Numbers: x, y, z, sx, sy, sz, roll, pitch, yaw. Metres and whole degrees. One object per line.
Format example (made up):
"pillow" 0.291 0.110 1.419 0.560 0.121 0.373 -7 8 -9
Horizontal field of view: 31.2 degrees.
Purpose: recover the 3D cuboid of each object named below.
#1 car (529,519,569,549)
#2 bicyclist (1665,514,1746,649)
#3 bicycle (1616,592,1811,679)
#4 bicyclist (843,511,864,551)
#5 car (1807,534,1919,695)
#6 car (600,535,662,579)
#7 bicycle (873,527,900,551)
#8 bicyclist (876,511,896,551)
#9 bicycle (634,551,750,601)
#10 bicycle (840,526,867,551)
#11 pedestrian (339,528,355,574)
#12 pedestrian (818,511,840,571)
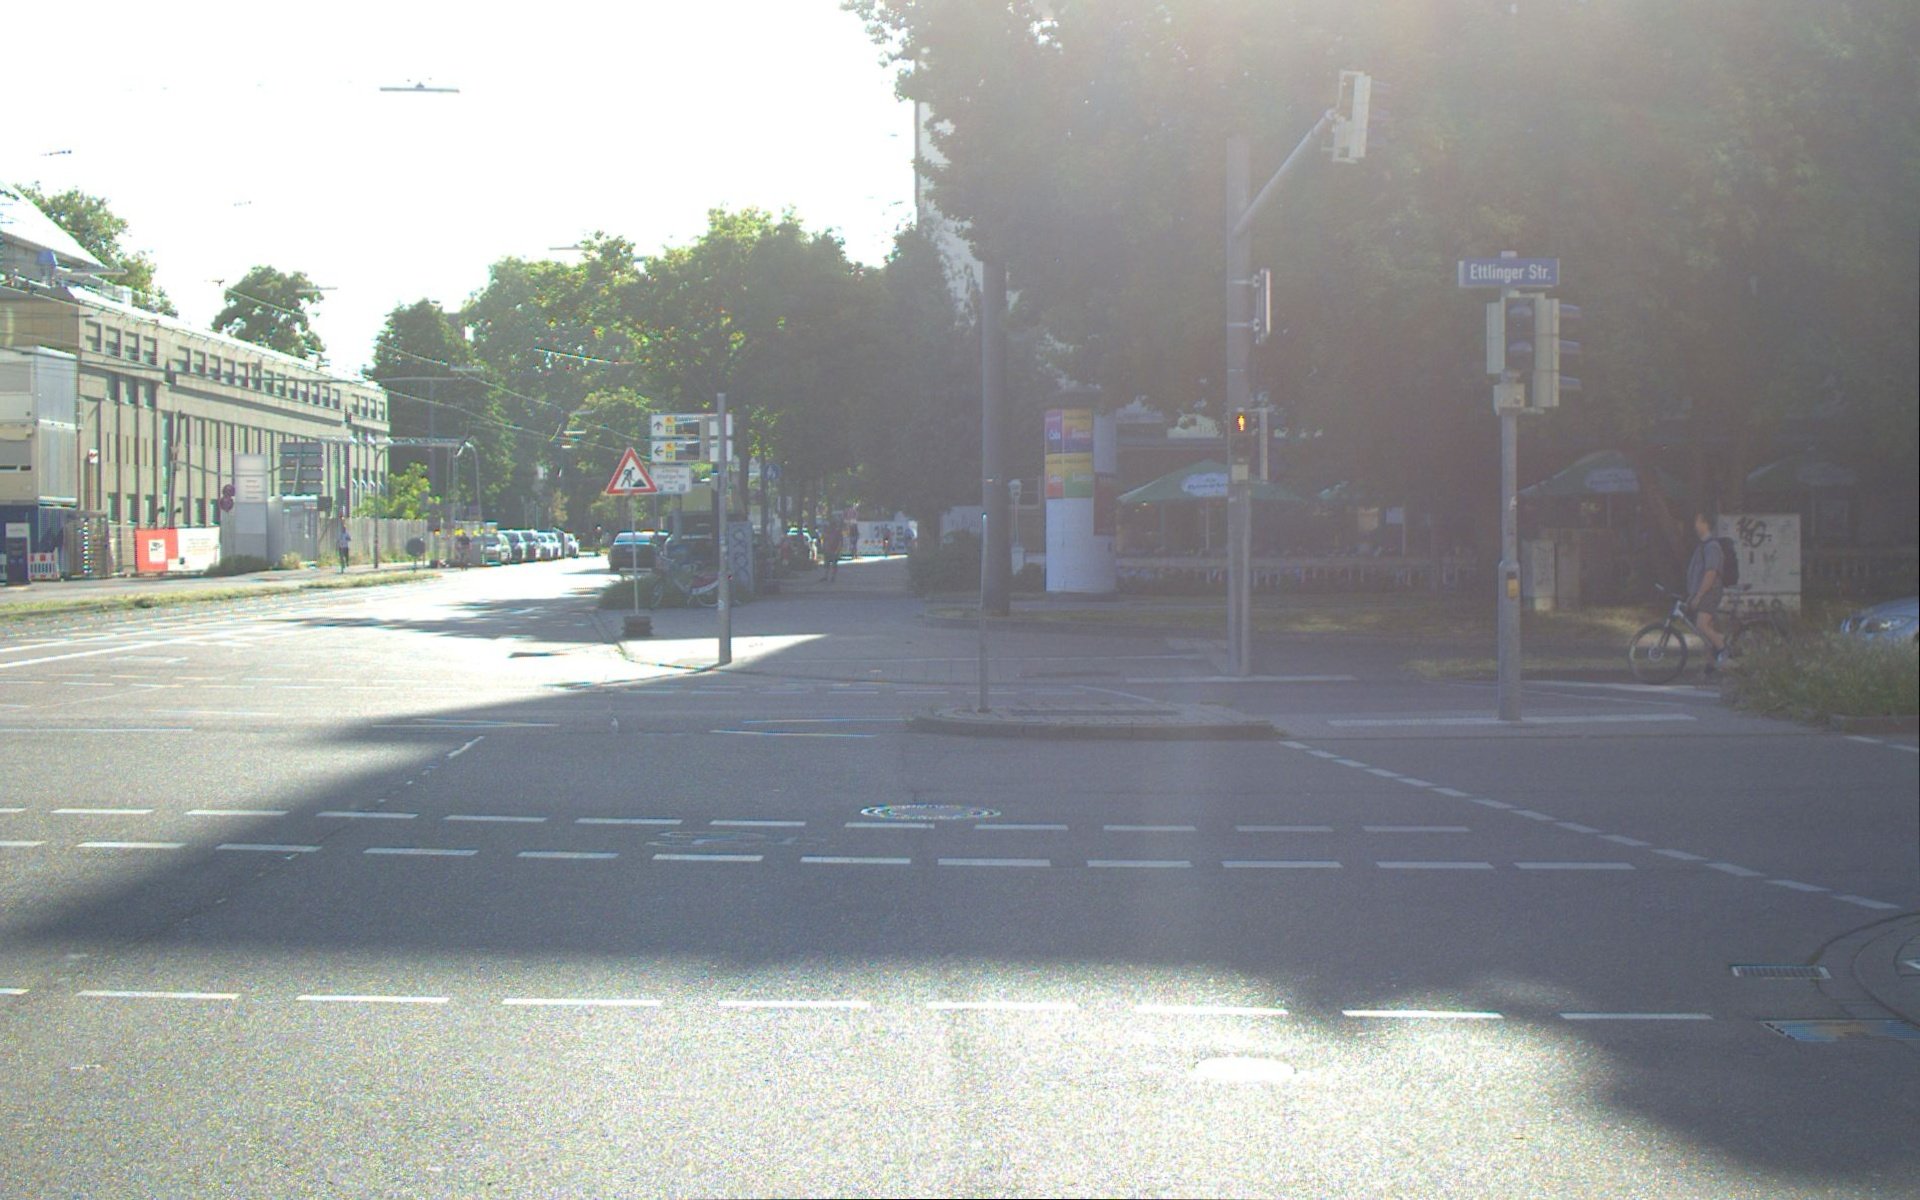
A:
"car" -23.273 -3.733 194.699 1.993 1.638 4.001 0 1 -4
"bicyclist" 7.882 -0.196 36.391 0.747 1.401 0.702 1 0 6
"bicycle" 7.964 0.367 36.392 1.944 0.886 0.718 1 0 6
"bicyclist" -5.373 -3.485 172.973 0.890 2.007 0.749 1 0 -12
"car" 10.828 0.156 33.585 4.576 1.511 2.000 1 1 0
"car" -12.504 -1.627 130.692 1.993 1.634 4.000 1 1 -1
"bicycle" -3.707 -3.069 173.336 0.890 1.215 2.794 1 1 -12
"bicyclist" -3.741 -3.466 173.427 0.890 2.007 0.749 1 0 -12
"bicycle" -5.241 -0.475 67.221 2.244 0.937 0.654 -1 1 -5
"bicycle" -5.351 -3.088 172.897 0.890 1.215 2.794 1 1 -12
"pedestrian" -25.246 -2.004 141.548 0.587 1.883 0.478 1 0 -5
"pedestrian" -3.727 -1.679 97.711 0.576 1.683 0.585 -1 1 -8
